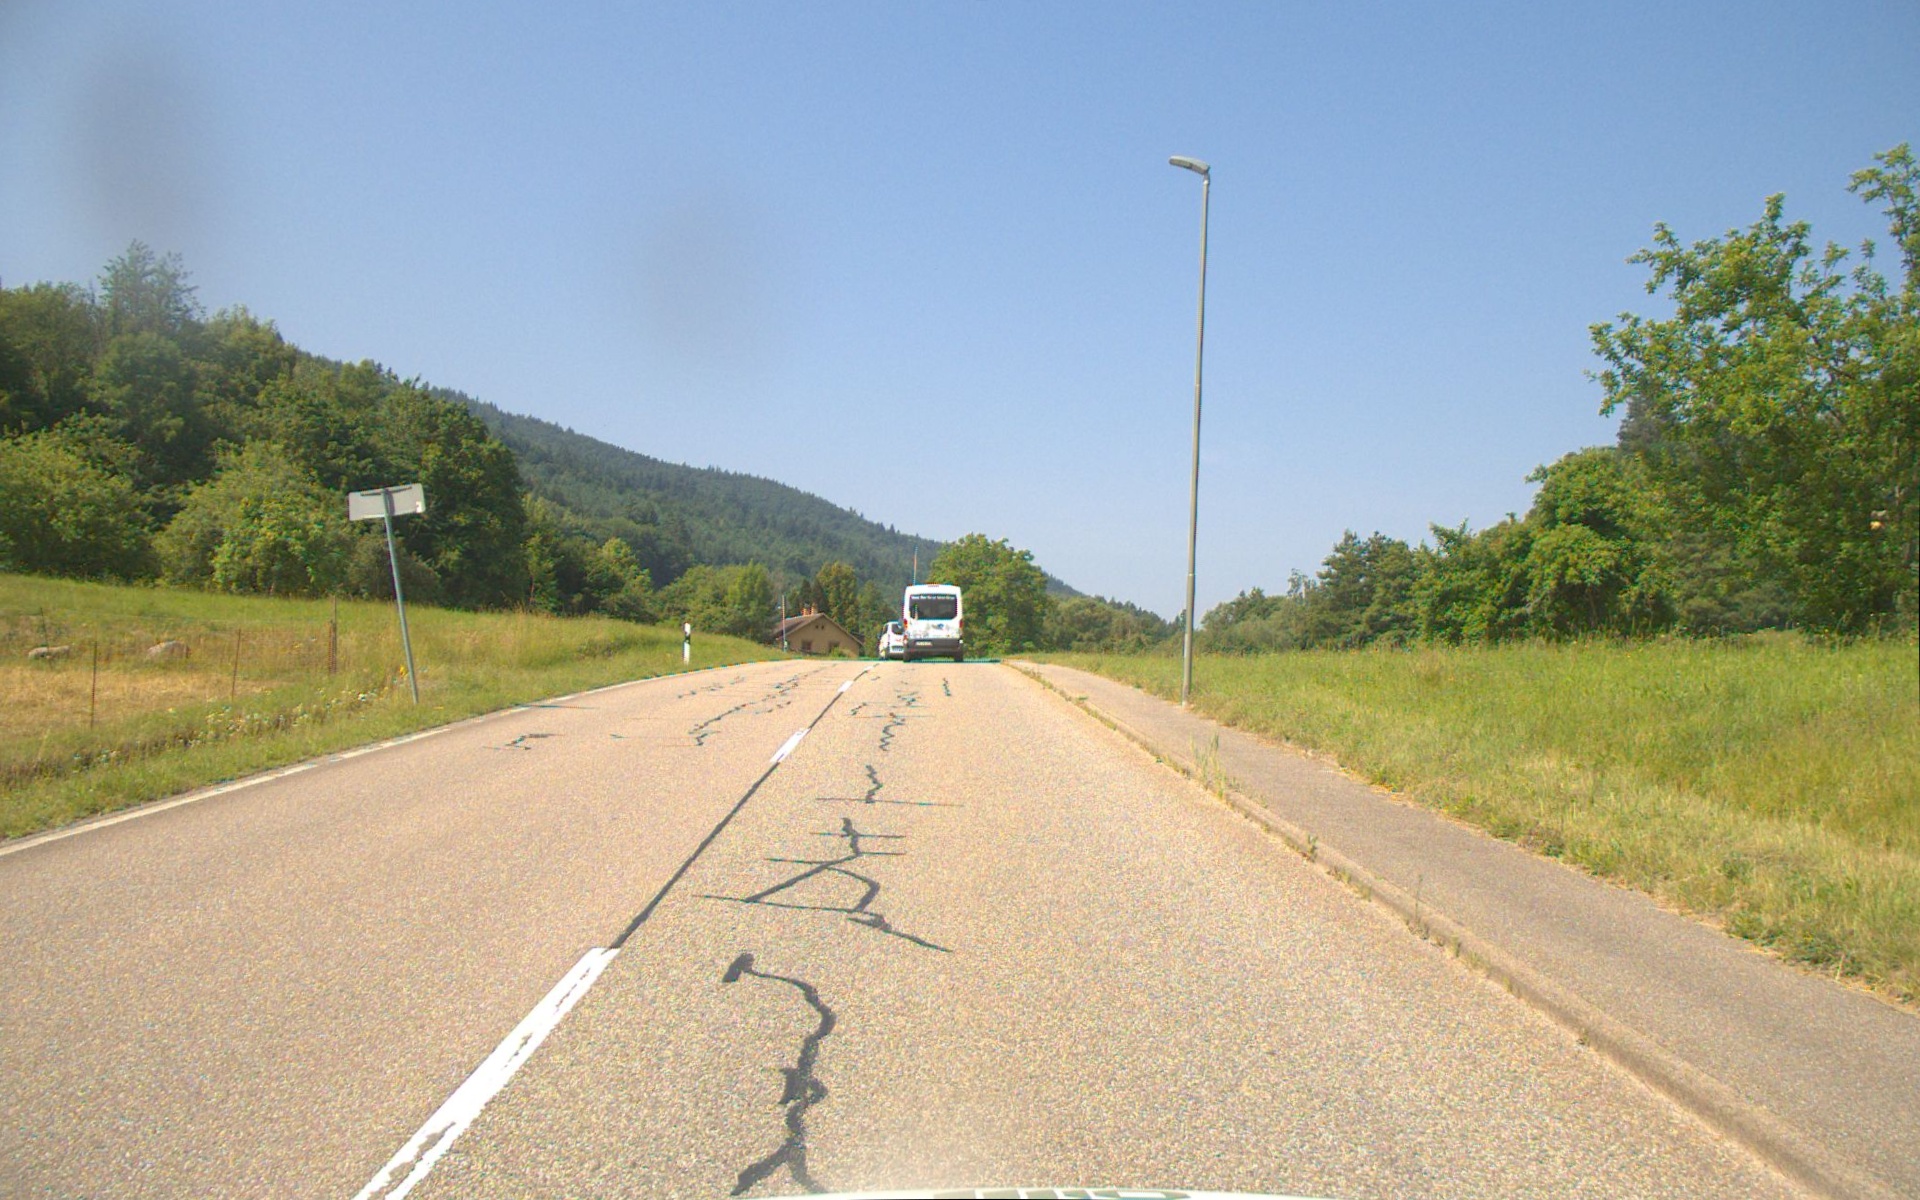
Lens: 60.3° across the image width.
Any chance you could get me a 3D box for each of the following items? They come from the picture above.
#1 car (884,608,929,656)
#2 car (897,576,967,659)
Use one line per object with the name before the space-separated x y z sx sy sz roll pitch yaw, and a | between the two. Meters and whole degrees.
car | -2.799 1.669 84.990 2.178 2.327 4.980 -2 -2 -3
car | -0.955 0.635 55.274 2.178 2.570 4.982 -2 -2 -2
